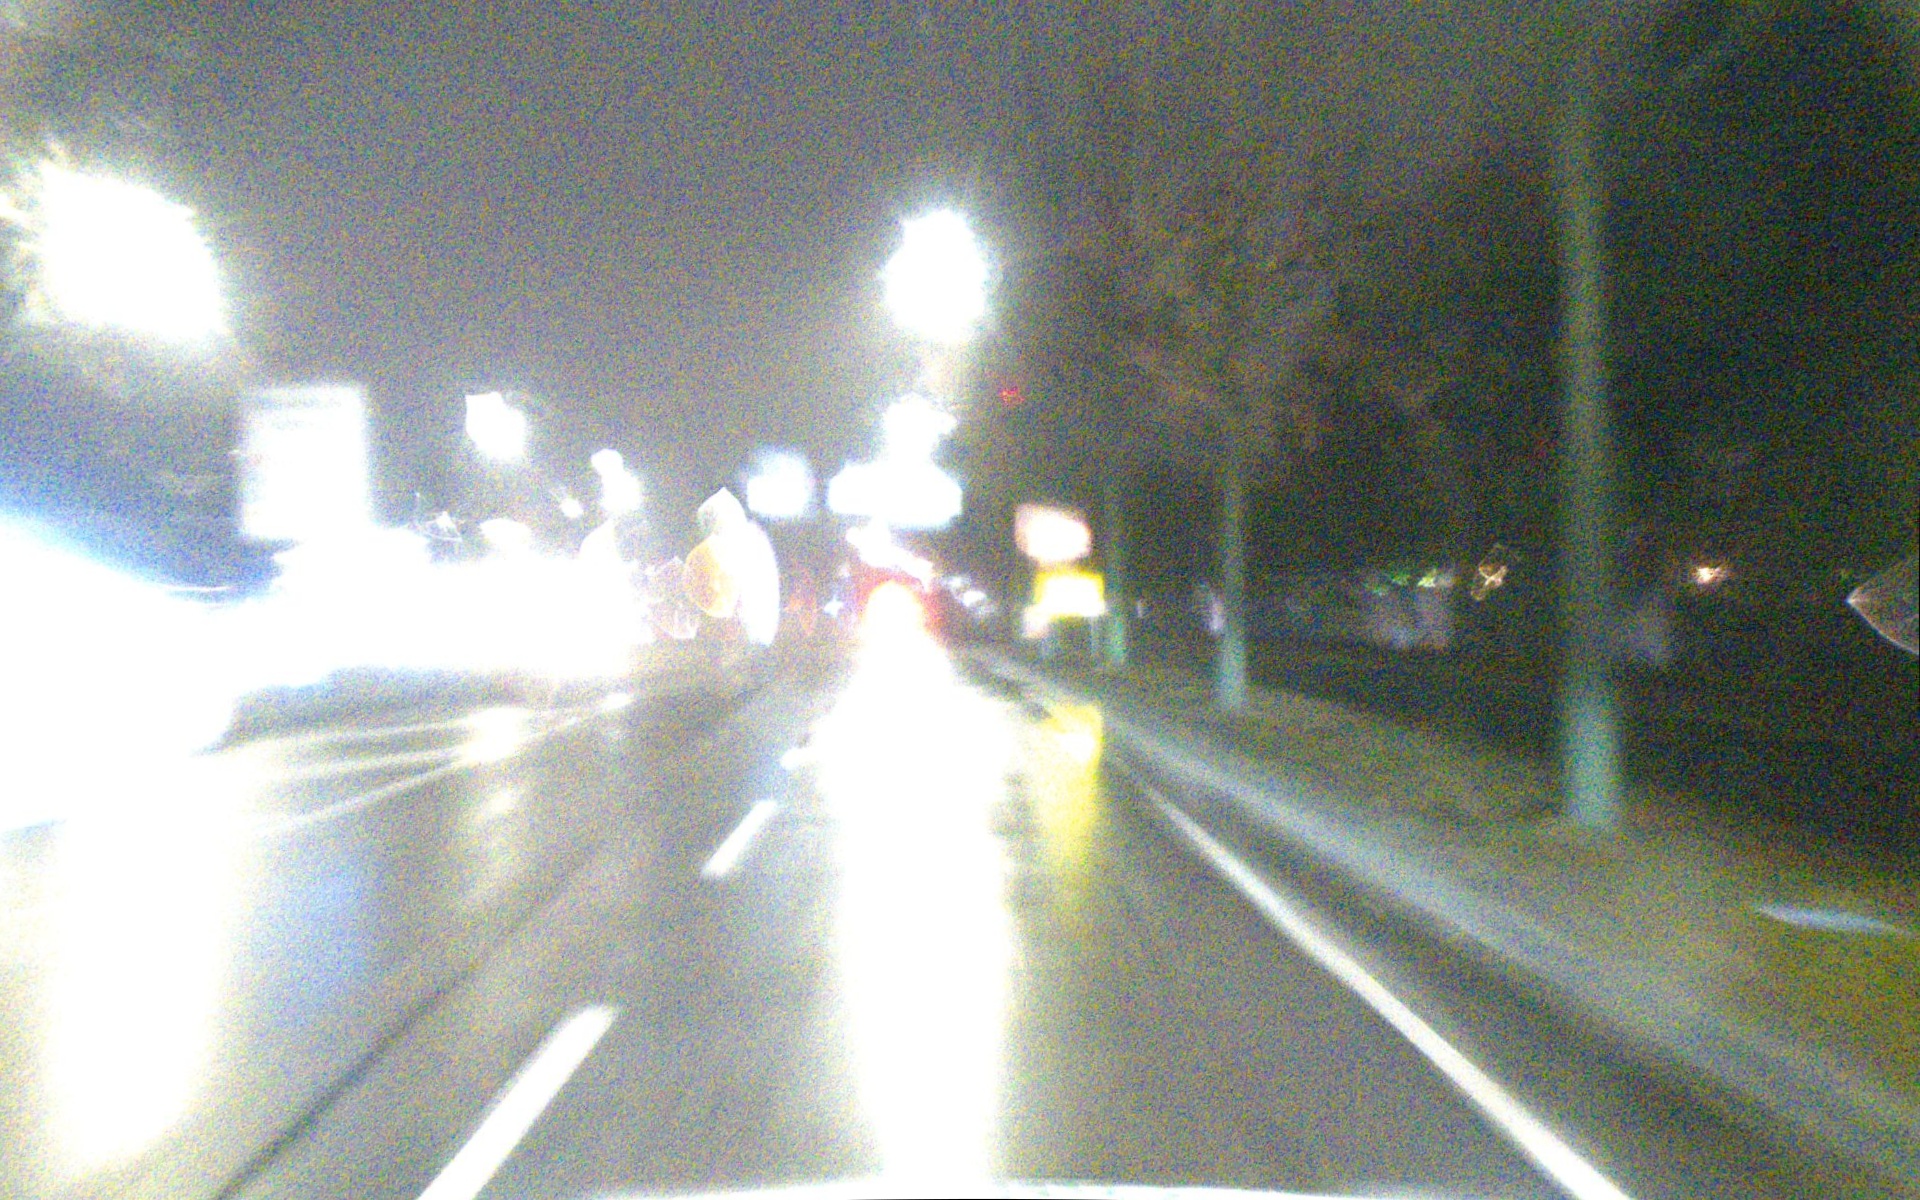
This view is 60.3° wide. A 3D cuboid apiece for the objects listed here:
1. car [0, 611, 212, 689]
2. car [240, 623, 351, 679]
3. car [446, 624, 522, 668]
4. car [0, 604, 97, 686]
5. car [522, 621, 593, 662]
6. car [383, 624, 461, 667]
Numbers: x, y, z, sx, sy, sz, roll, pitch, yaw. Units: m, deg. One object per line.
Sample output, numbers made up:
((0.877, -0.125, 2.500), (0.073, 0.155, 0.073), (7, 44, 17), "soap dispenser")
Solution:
((-16.915, 0.936, 32.954), (1.807, 1.382, 5.554), (1, 0, -4), "car")
((-20.905, 1.559, 52.218), (1.806, 1.620, 4.364), (1, 0, -2), "car")
((-18.863, 1.791, 65.741), (1.806, 1.620, 4.364), (1, 0, -2), "car")
((-20.191, 0.909, 34.814), (1.806, 1.620, 4.364), (1, 0, -2), "car")
((-15.743, 1.595, 64.883), (1.806, 1.512, 4.364), (1, 0, -2), "car")
((-21.824, 1.829, 67.232), (1.806, 1.620, 4.364), (1, 0, -2), "car")
